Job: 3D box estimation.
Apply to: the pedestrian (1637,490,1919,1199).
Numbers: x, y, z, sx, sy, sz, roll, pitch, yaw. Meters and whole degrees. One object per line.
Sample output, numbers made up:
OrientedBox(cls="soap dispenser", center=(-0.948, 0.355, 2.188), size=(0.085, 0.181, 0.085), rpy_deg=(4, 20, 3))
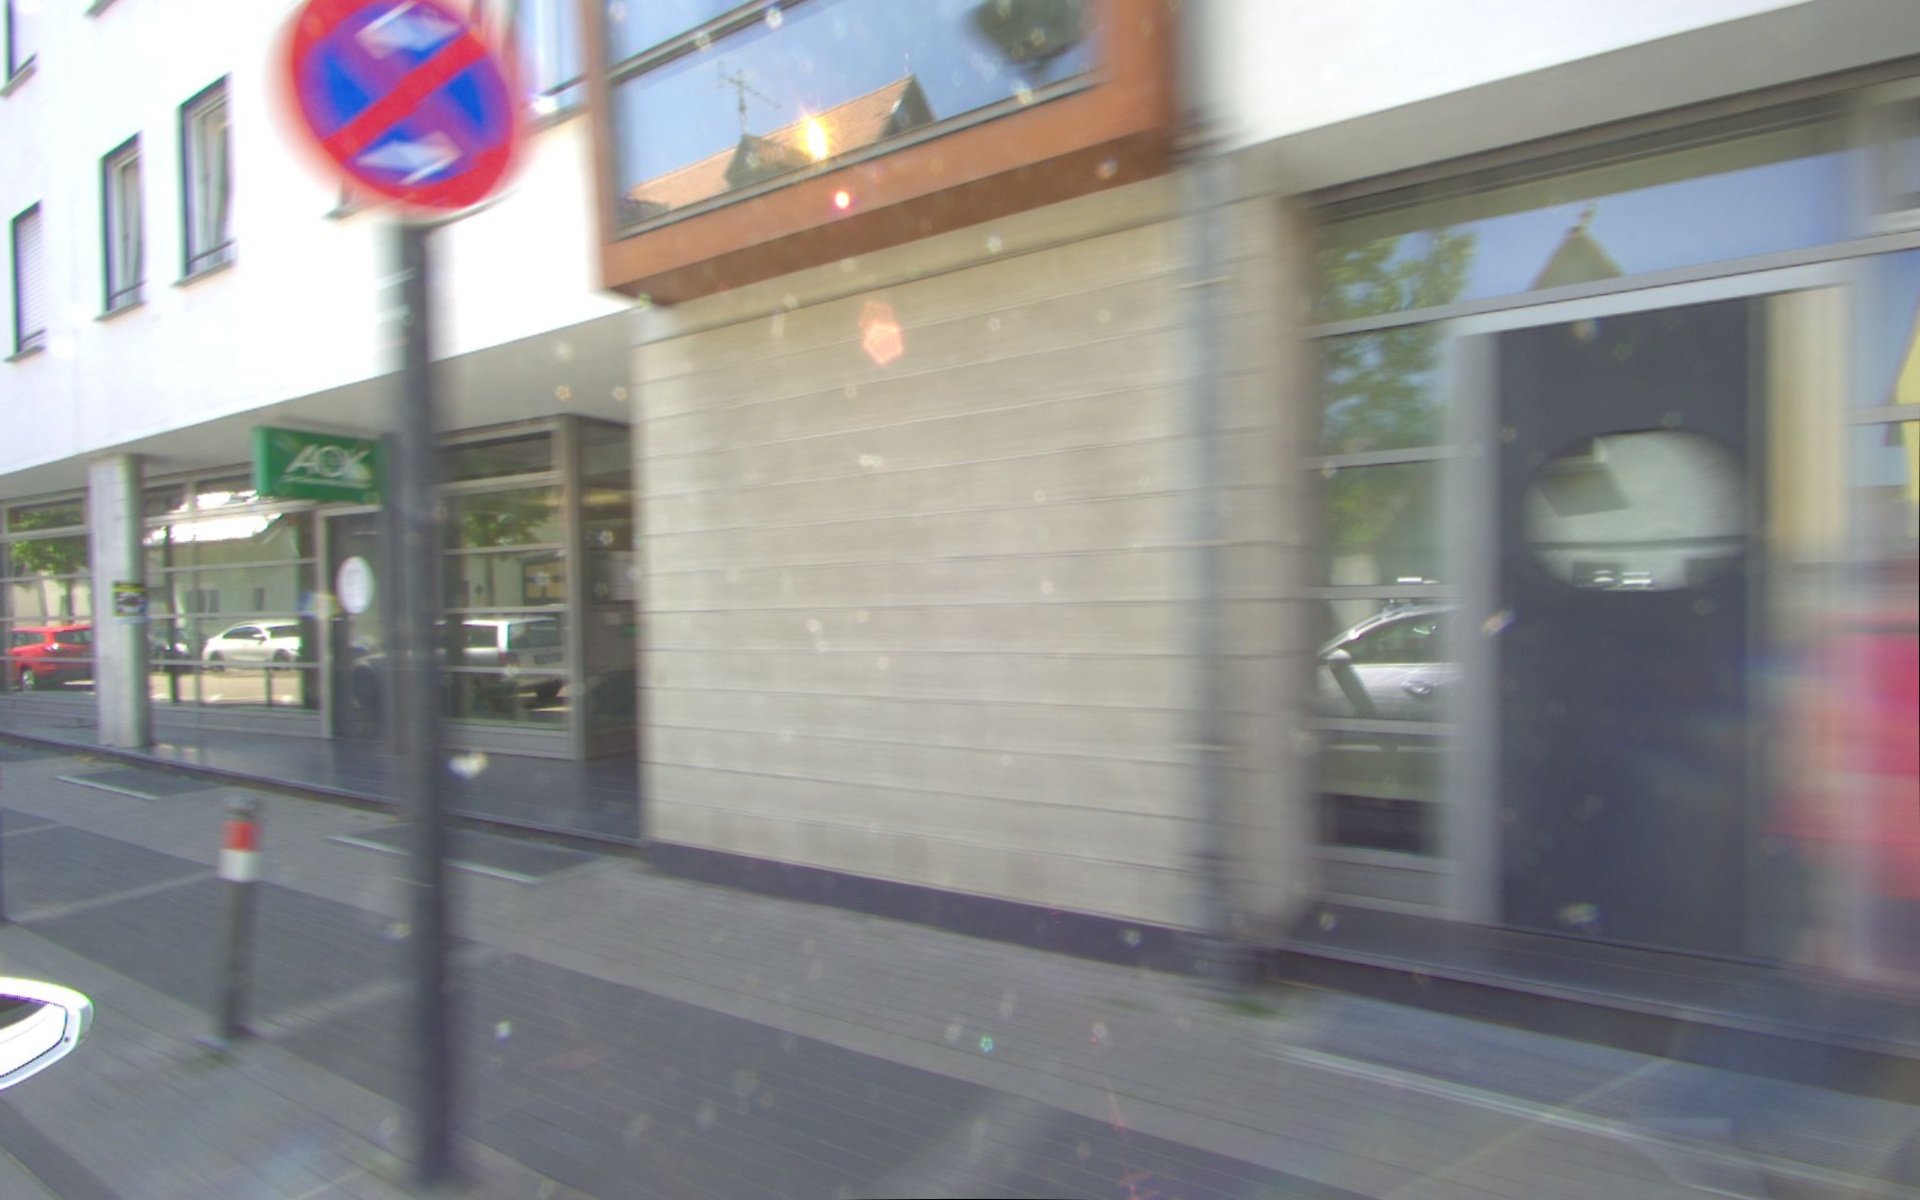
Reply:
OrientedBox(cls="pedestrian", center=(2.037, 0.583, 2.176), size=(0.906, 1.610, 0.821), rpy_deg=(-1, 3, 33))
